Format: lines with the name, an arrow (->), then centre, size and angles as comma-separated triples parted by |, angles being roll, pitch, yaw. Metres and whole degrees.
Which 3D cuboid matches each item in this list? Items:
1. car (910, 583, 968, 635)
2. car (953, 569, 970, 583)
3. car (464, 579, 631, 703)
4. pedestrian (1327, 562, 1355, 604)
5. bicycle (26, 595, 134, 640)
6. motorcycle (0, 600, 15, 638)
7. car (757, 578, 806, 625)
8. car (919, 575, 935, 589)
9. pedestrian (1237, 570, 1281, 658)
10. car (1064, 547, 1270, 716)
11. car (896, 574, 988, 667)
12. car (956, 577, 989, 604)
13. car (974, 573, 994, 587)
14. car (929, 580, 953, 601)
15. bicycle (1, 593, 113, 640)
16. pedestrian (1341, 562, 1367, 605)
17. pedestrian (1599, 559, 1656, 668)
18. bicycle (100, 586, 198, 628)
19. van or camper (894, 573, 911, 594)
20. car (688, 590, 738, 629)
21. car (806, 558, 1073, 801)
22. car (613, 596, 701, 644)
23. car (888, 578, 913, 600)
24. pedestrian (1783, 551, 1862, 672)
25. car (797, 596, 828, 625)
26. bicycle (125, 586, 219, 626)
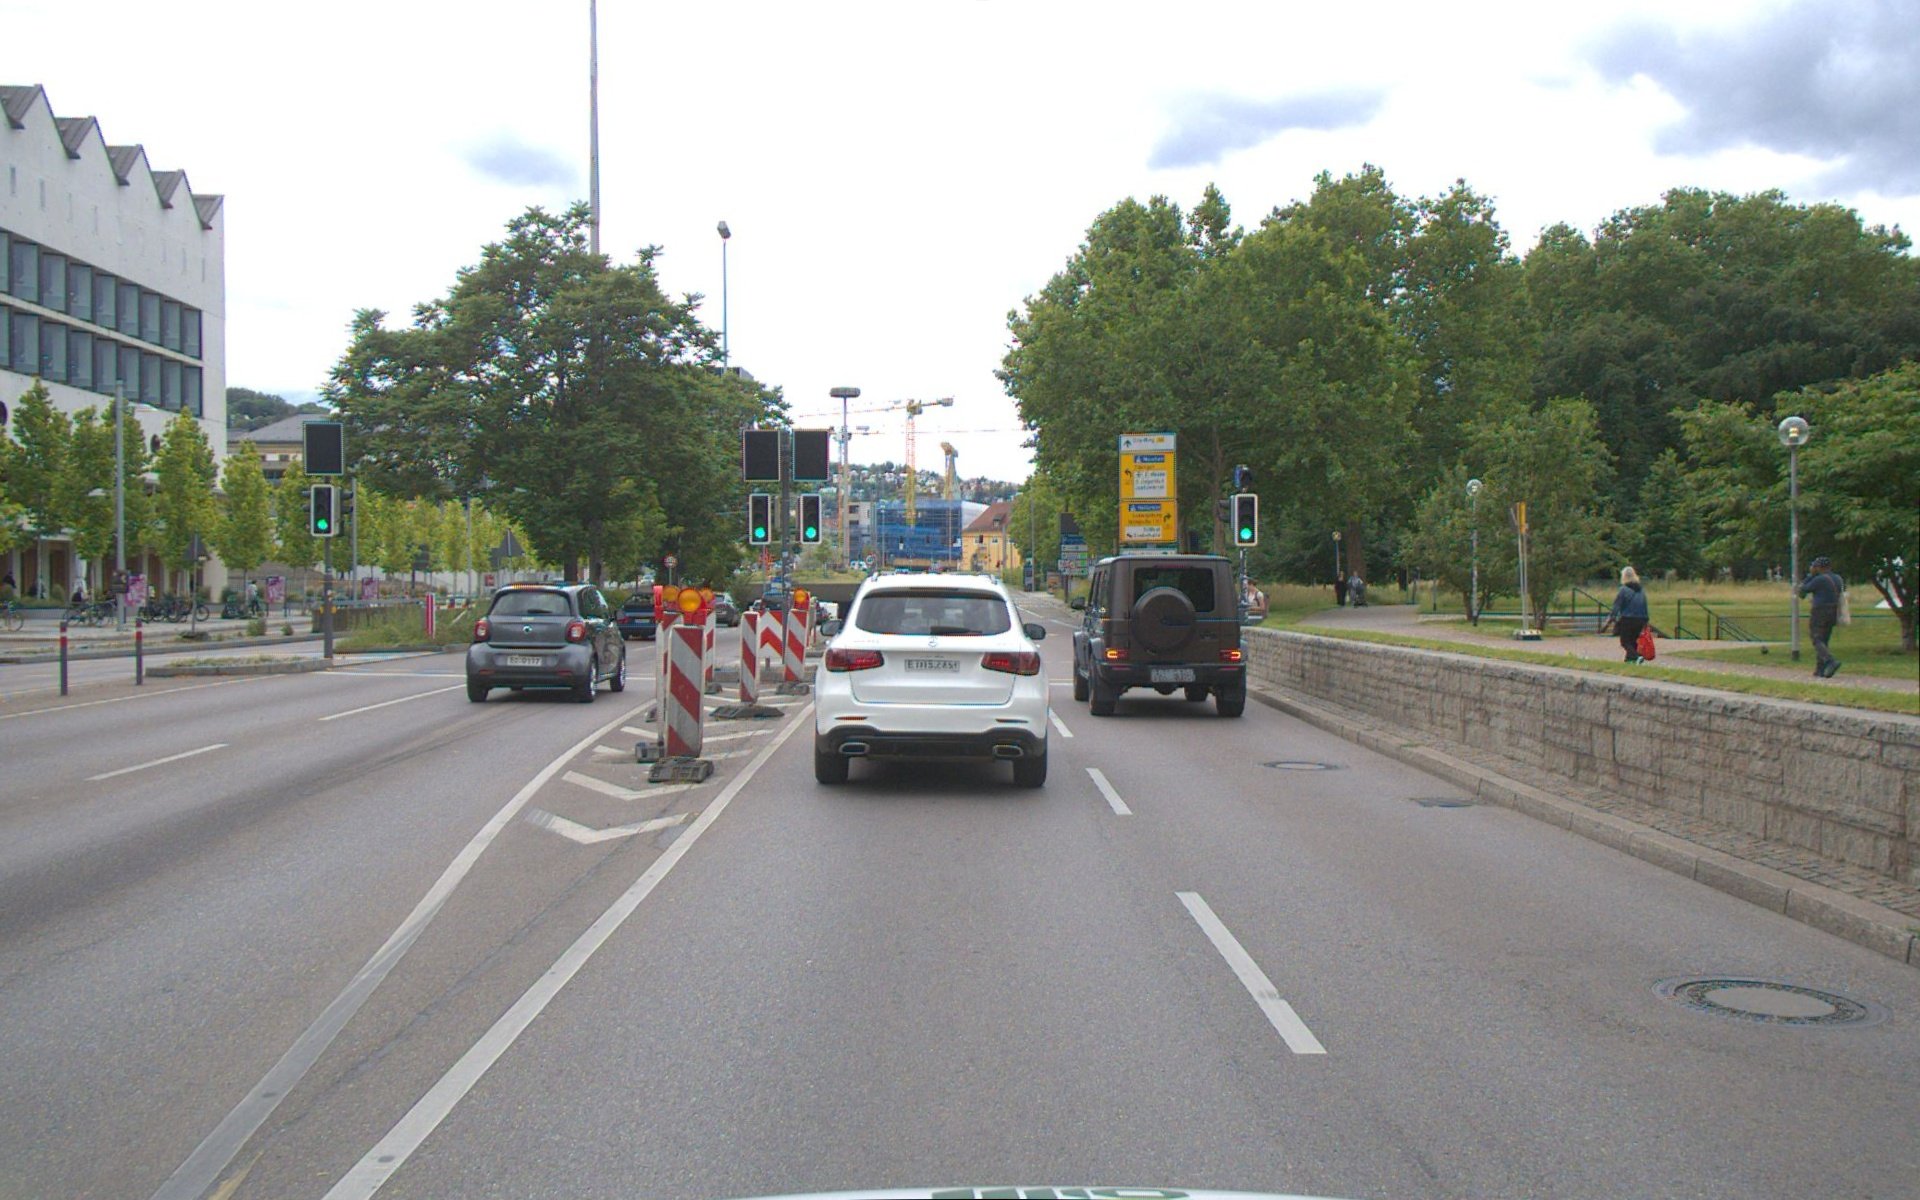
car -> -0.751, 0.278, 55.434 | 1.685, 1.612, 3.997 | 2, 0, -4
car -> 0.126, -2.794, 192.787 | 1.685, 1.612, 3.997 | 2, 0, -4
car -> -5.544, 0.527, 22.612 | 1.595, 1.535, 3.536 | 1, 0, -4
pedestrian -> 16.363, -0.724, 71.023 | 0.878, 1.763, 0.968 | 2, 0, -2
bicycle -> -34.750, 0.691, 65.357 | 3.541, 1.713, 1.182 | -1, 0, -4
motorcycle -> -32.807, 0.654, 55.477 | 1.861, 1.255, 0.653 | -1, -2, -28
car -> -6.893, 0.032, 64.137 | 1.685, 1.708, 3.997 | 2, 0, -4
car -> -4.098, -2.245, 205.448 | 1.685, 1.612, 3.997 | 2, 0, -4
pedestrian -> 5.881, 0.272, 32.555 | 0.684, 1.684, 0.683 | 2, -1, -3
car -> 2.598, 0.387, 21.900 | 1.938, 1.926, 4.705 | 2, -1, -2
car -> -0.384, 0.404, 32.317 | 1.638, 1.656, 3.998 | 2, -1, -2
car -> 0.844, -0.653, 111.109 | 1.954, 1.691, 3.998 | 2, -1, -3
car -> 3.037, -2.462, 207.058 | 1.955, 1.646, 3.994 | 2, -1, -7
car -> -1.708, -0.831, 150.075 | 1.954, 1.812, 3.998 | 2, -1, -3
bicycle -> -34.345, 0.621, 62.945 | 3.541, 1.713, 1.182 | -1, 0, -4
pedestrian -> 17.949, -0.747, 75.361 | 0.975, 1.868, 1.030 | 2, -1, 7
pedestrian -> 9.912, 0.194, 24.586 | 0.668, 1.589, 0.909 | -1, 0, 15
bicycle -> -34.727, 0.275, 70.855 | 3.550, 1.713, 1.179 | -1, 0, -13
van or camper -> -6.867, -1.931, 197.887 | 1.884, 2.360, 3.997 | 1, -1, -3
car -> -10.622, 0.377, 71.389 | 1.718, 1.580, 3.997 | 2, 0, -3
car -> -0.241, 0.600, 14.113 | 1.902, 1.713, 3.997 | 2, -1, -3
car -> -8.873, 0.562, 48.781 | 1.683, 1.315, 4.001 | 2, 0, 2
car -> -5.149, -0.945, 143.520 | 1.953, 1.787, 3.999 | 2, -1, -1
pedestrian -> 12.001, 0.161, 23.023 | 0.785, 1.654, 0.626 | -1, 0, 6
car -> -8.679, 0.591, 96.998 | 1.686, 1.612, 3.994 | 2, 0, -7
bicycle -> -34.862, 0.262, 73.250 | 3.550, 1.713, 1.179 | -1, 0, -13
